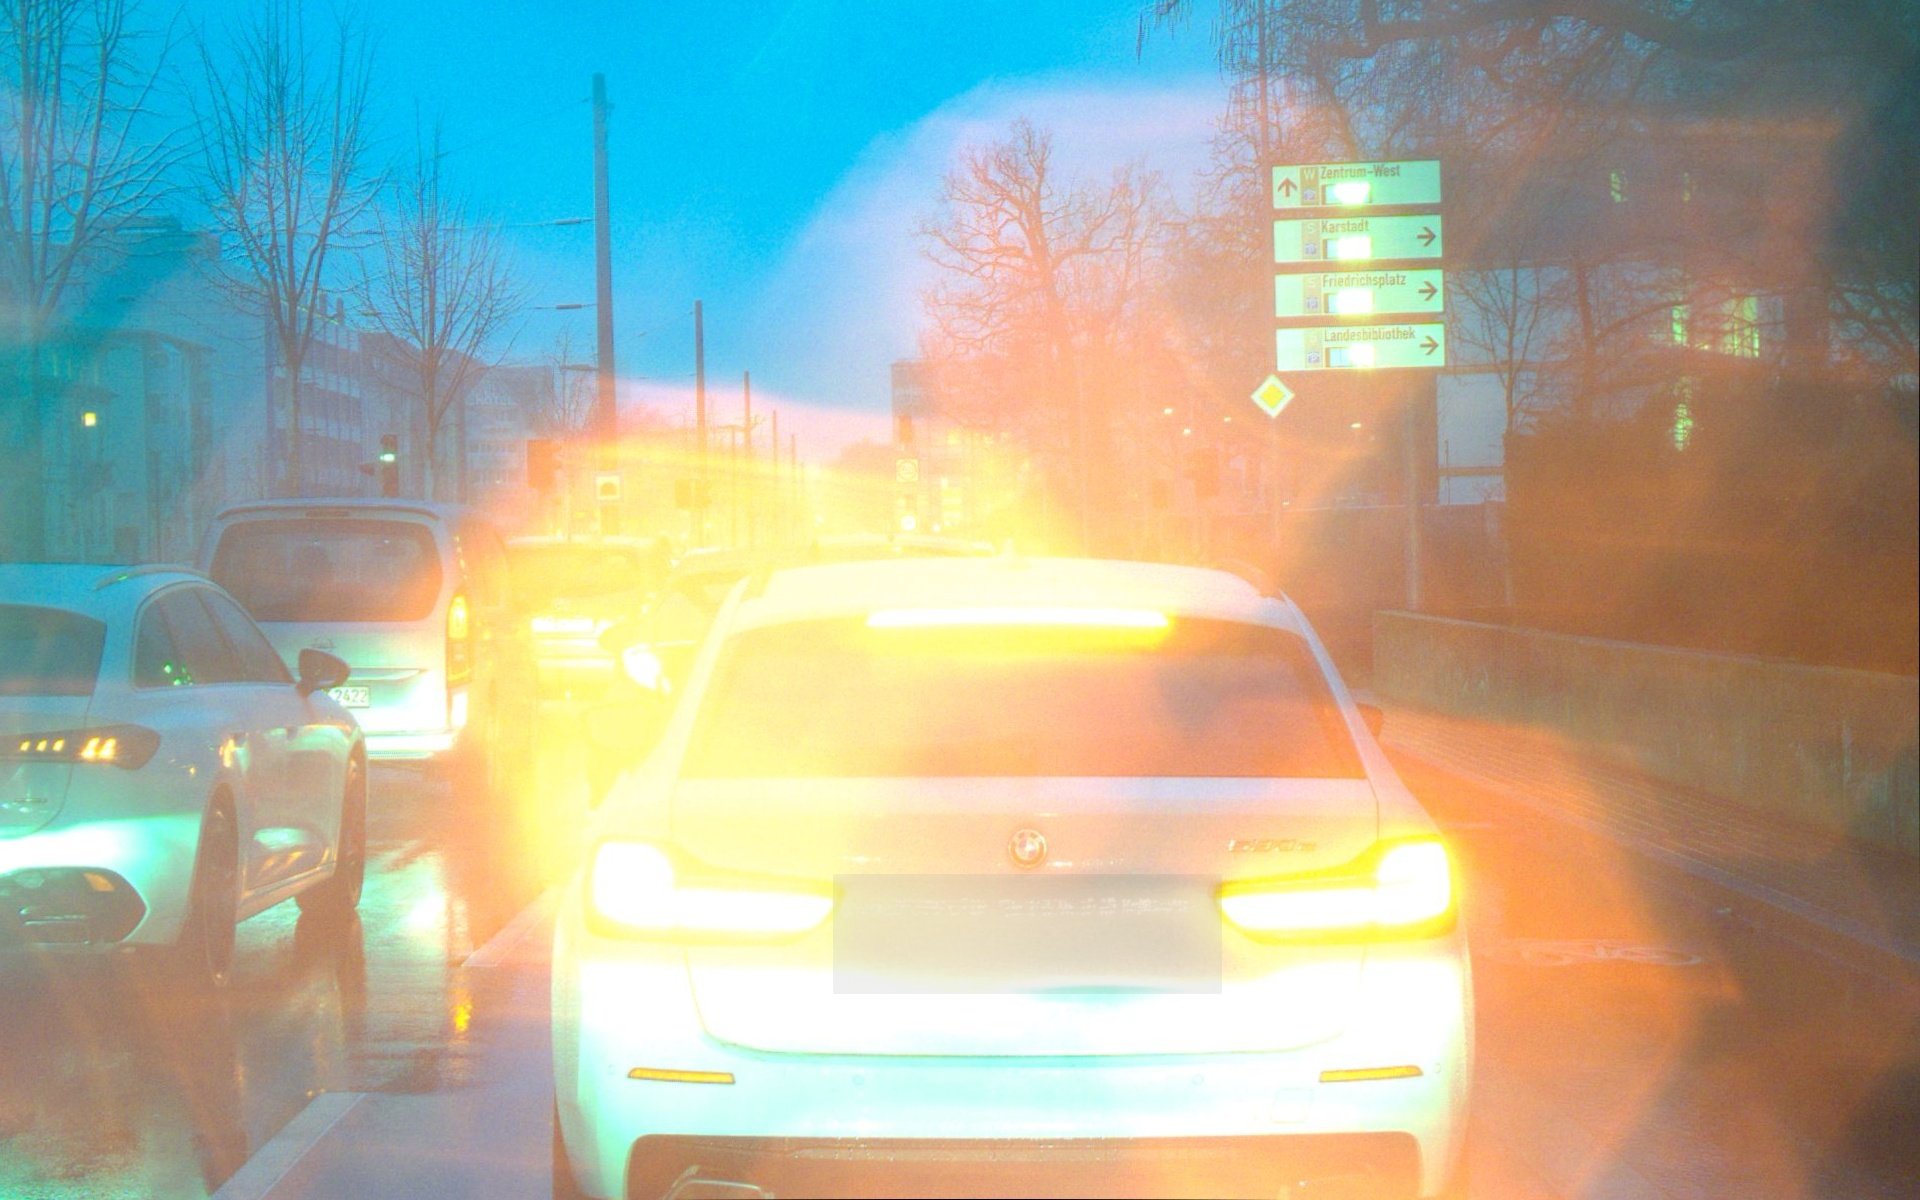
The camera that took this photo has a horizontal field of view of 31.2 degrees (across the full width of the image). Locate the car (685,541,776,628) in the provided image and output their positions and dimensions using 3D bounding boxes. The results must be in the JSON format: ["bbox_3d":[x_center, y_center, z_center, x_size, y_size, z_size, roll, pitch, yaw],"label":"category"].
[{"bbox_3d":[-3.568,-0.250,53.648,1.362,1.312,2.716,1,1,-3],"label":"car"}]

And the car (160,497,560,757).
[{"bbox_3d":[-3.609,0.107,21.412,1.737,1.415,4.394,-1,1,-1],"label":"car"}]

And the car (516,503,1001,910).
[{"bbox_3d":[-0.780,0.375,14.884,1.800,1.505,3.895,-1,1,-1],"label":"car"}]

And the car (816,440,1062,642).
[{"bbox_3d":[-0.171,-0.460,26.538,1.737,1.415,3.703,-1,1,-1],"label":"car"}]

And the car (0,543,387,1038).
[{"bbox_3d":[-3.368,0.547,12.575,1.799,1.461,4.586,-1,1,-1],"label":"car"}]

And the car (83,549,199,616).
[{"bbox_3d":[-20.117,-0.437,84.566,1.993,1.597,4.000,1,1,-2],"label":"car"}]

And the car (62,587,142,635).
[{"bbox_3d":[-24.464,0.291,98.098,1.690,1.273,4.149,-1,1,-7],"label":"car"}]

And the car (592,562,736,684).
[{"bbox_3d":[-3.319,0.236,38.899,1.363,1.312,2.716,1,1,0],"label":"car"}]

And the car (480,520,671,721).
[{"bbox_3d":[-3.303,0.159,29.881,1.505,1.647,2.845,1,1,-4],"label":"car"}]

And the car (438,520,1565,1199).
[{"bbox_3d":[0.048,0.615,8.227,1.862,1.550,4.938,-1,1,-1],"label":"car"}]

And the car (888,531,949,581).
[{"bbox_3d":[-1.231,-1.329,102.398,1.737,1.415,4.146,-1,1,-1],"label":"car"}]

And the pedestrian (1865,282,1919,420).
[{"bbox_3d":[14.216,-3.744,51.691,0.959,2.007,1.007,-1,1,2],"label":"pedestrian"}]
